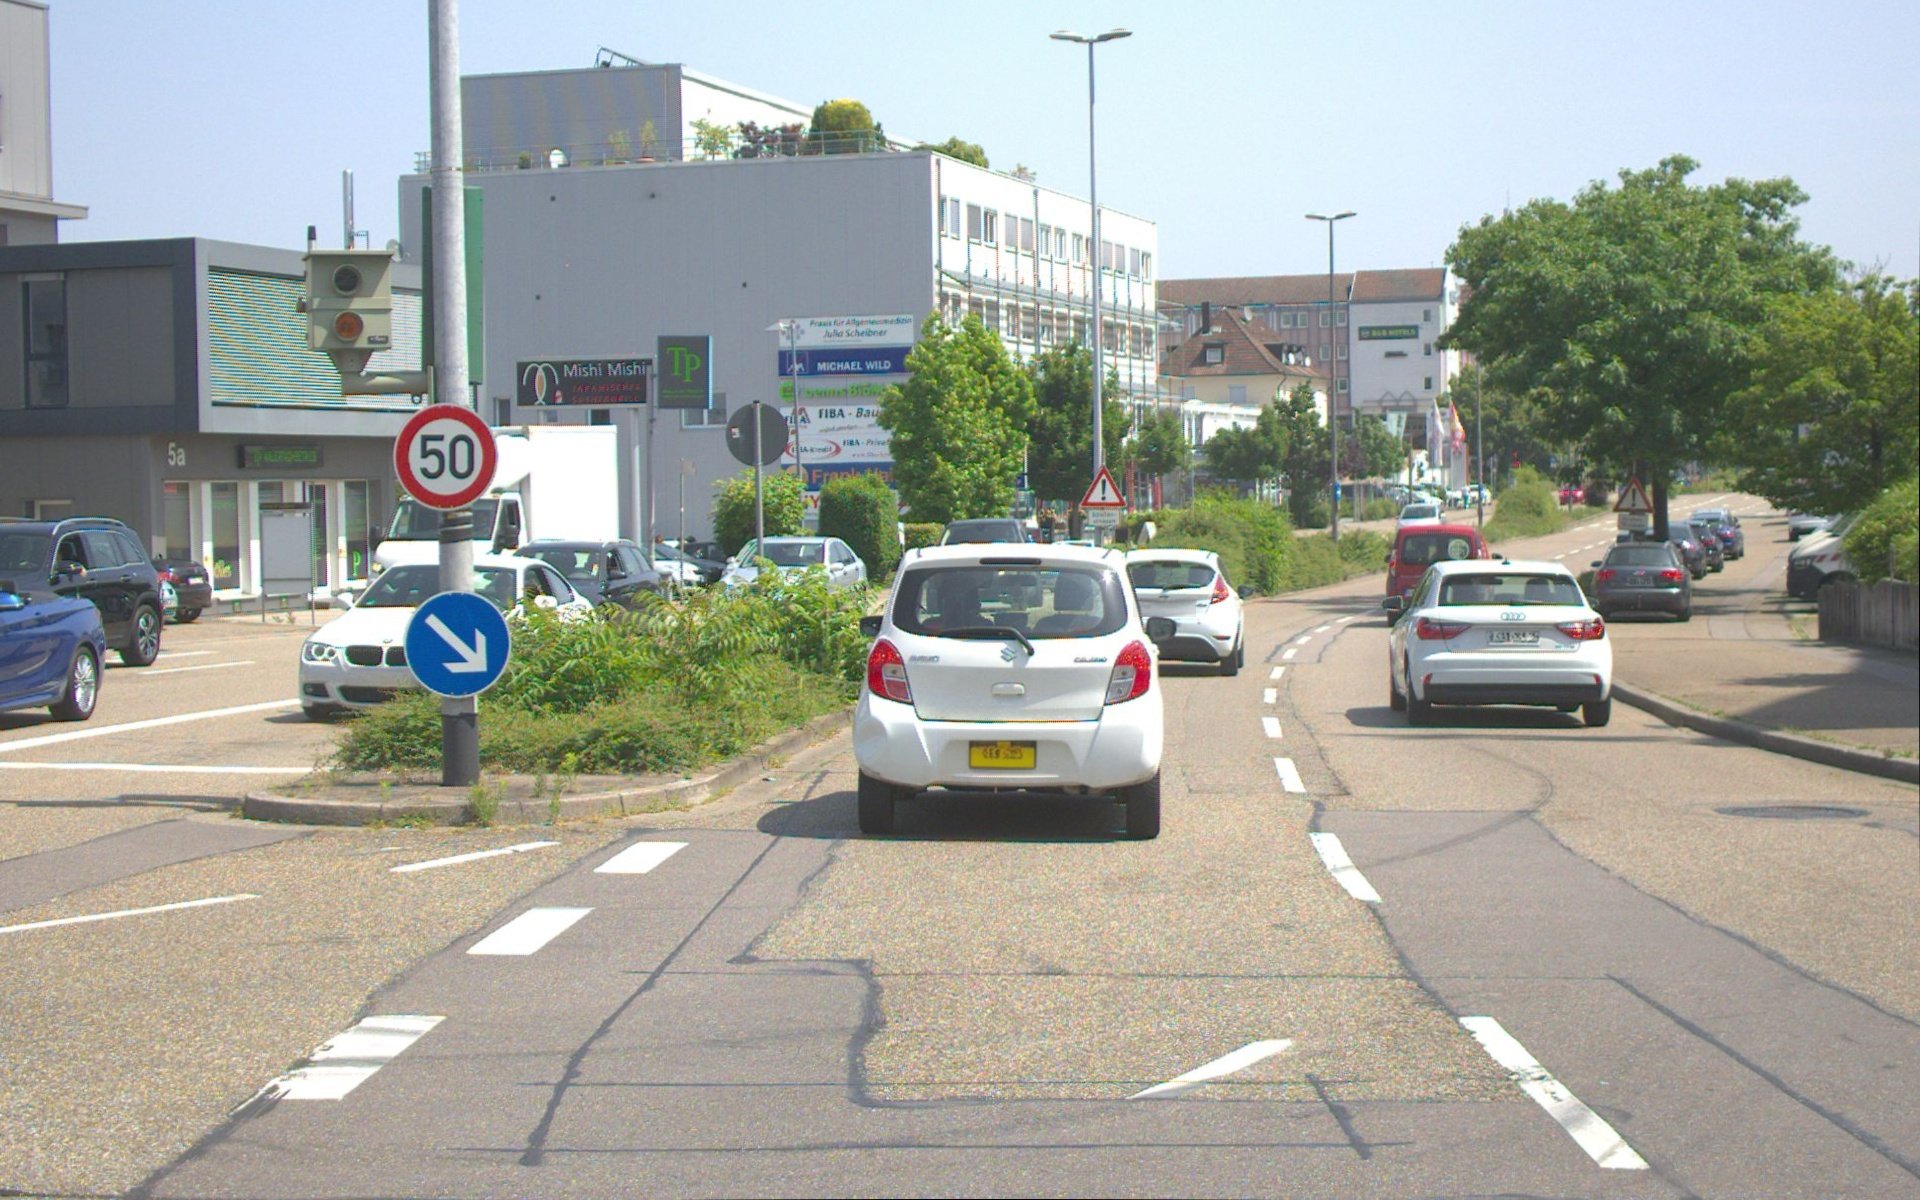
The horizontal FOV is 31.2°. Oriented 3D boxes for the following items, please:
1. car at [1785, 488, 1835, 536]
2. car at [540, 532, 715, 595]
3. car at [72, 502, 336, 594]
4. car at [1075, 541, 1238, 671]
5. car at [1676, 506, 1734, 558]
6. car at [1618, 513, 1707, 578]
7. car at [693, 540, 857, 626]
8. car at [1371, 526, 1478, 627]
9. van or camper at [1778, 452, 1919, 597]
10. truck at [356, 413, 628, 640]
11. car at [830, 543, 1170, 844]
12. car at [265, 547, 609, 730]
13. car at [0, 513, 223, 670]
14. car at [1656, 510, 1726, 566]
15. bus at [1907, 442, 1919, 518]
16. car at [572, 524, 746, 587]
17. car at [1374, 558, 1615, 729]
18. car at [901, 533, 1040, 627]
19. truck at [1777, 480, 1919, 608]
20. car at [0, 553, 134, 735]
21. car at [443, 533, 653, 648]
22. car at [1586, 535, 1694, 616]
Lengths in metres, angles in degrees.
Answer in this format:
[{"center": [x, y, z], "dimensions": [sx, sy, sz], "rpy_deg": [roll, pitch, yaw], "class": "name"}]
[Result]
[{"center": [31.215, -3.241, 126.184], "dimensions": [1.668, 1.590, 4.610], "rpy_deg": [-2, 2, 15], "class": "car"}, {"center": [-8.148, -0.887, 84.324], "dimensions": [3.988, 1.454, 1.575], "rpy_deg": [-1, 0, 10], "class": "car"}, {"center": [-13.310, -0.910, 60.600], "dimensions": [4.058, 1.516, 1.999], "rpy_deg": [-1, 1, 12], "class": "car"}, {"center": [2.340, 0.035, 40.908], "dimensions": [1.830, 1.445, 4.000], "rpy_deg": [0, 1, 3], "class": "car"}, {"center": [23.572, -2.169, 108.741], "dimensions": [1.714, 1.543, 4.788], "rpy_deg": [-1, 1, 13], "class": "car"}, {"center": [18.850, -1.478, 92.067], "dimensions": [1.962, 1.524, 5.158], "rpy_deg": [-3, 1, 15], "class": "car"}, {"center": [-3.002, -0.295, 56.561], "dimensions": [1.898, 1.356, 4.196], "rpy_deg": [0, 1, 8], "class": "car"}, {"center": [8.262, -0.447, 60.994], "dimensions": [1.795, 1.723, 3.971], "rpy_deg": [1, 1, 8], "class": "car"}, {"center": [20.324, -1.612, 70.518], "dimensions": [6.801, 2.888, 2.274], "rpy_deg": [-1, 2, 15], "class": "van or camper"}, {"center": [-7.386, -1.134, 55.223], "dimensions": [2.265, 3.406, 7.036], "rpy_deg": [1, 0, 10], "class": "truck"}, {"center": [0.279, 0.460, 19.075], "dimensions": [1.712, 1.505, 3.247], "rpy_deg": [1, 0, 3], "class": "car"}, {"center": [-4.431, 0.268, 29.850], "dimensions": [1.863, 1.426, 4.744], "rpy_deg": [0, 1, 5], "class": "car"}, {"center": [-10.072, -0.141, 39.158], "dimensions": [1.994, 1.650, 4.593], "rpy_deg": [-1, 2, 5], "class": "car"}, {"center": [20.758, -1.769, 97.665], "dimensions": [1.855, 1.476, 5.154], "rpy_deg": [-1, 2, 12], "class": "car"}, {"center": [43.234, -5.334, 150.309], "dimensions": [2.807, 3.068, 12.275], "rpy_deg": [0, 3, 19], "class": "bus"}, {"center": [-7.614, -1.126, 87.024], "dimensions": [4.000, 1.366, 1.668], "rpy_deg": [-2, 2, 18], "class": "car"}, {"center": [4.645, 0.340, 30.314], "dimensions": [1.667, 1.394, 3.793], "rpy_deg": [0, 1, 2], "class": "car"}, {"center": [0.250, -0.393, 66.423], "dimensions": [1.909, 1.745, 4.758], "rpy_deg": [1, 0, 10], "class": "car"}, {"center": [19.033, -1.151, 66.171], "dimensions": [6.250, 2.328, 2.367], "rpy_deg": [-2, 2, 17], "class": "truck"}, {"center": [-8.133, 0.325, 26.864], "dimensions": [1.863, 1.361, 4.346], "rpy_deg": [1, 1, 7], "class": "car"}, {"center": [-5.359, -0.164, 45.240], "dimensions": [1.802, 1.434, 4.576], "rpy_deg": [0, 1, 6], "class": "car"}, {"center": [12.572, -0.484, 63.404], "dimensions": [1.798, 1.401, 4.318], "rpy_deg": [1, 2, 13], "class": "car"}]
